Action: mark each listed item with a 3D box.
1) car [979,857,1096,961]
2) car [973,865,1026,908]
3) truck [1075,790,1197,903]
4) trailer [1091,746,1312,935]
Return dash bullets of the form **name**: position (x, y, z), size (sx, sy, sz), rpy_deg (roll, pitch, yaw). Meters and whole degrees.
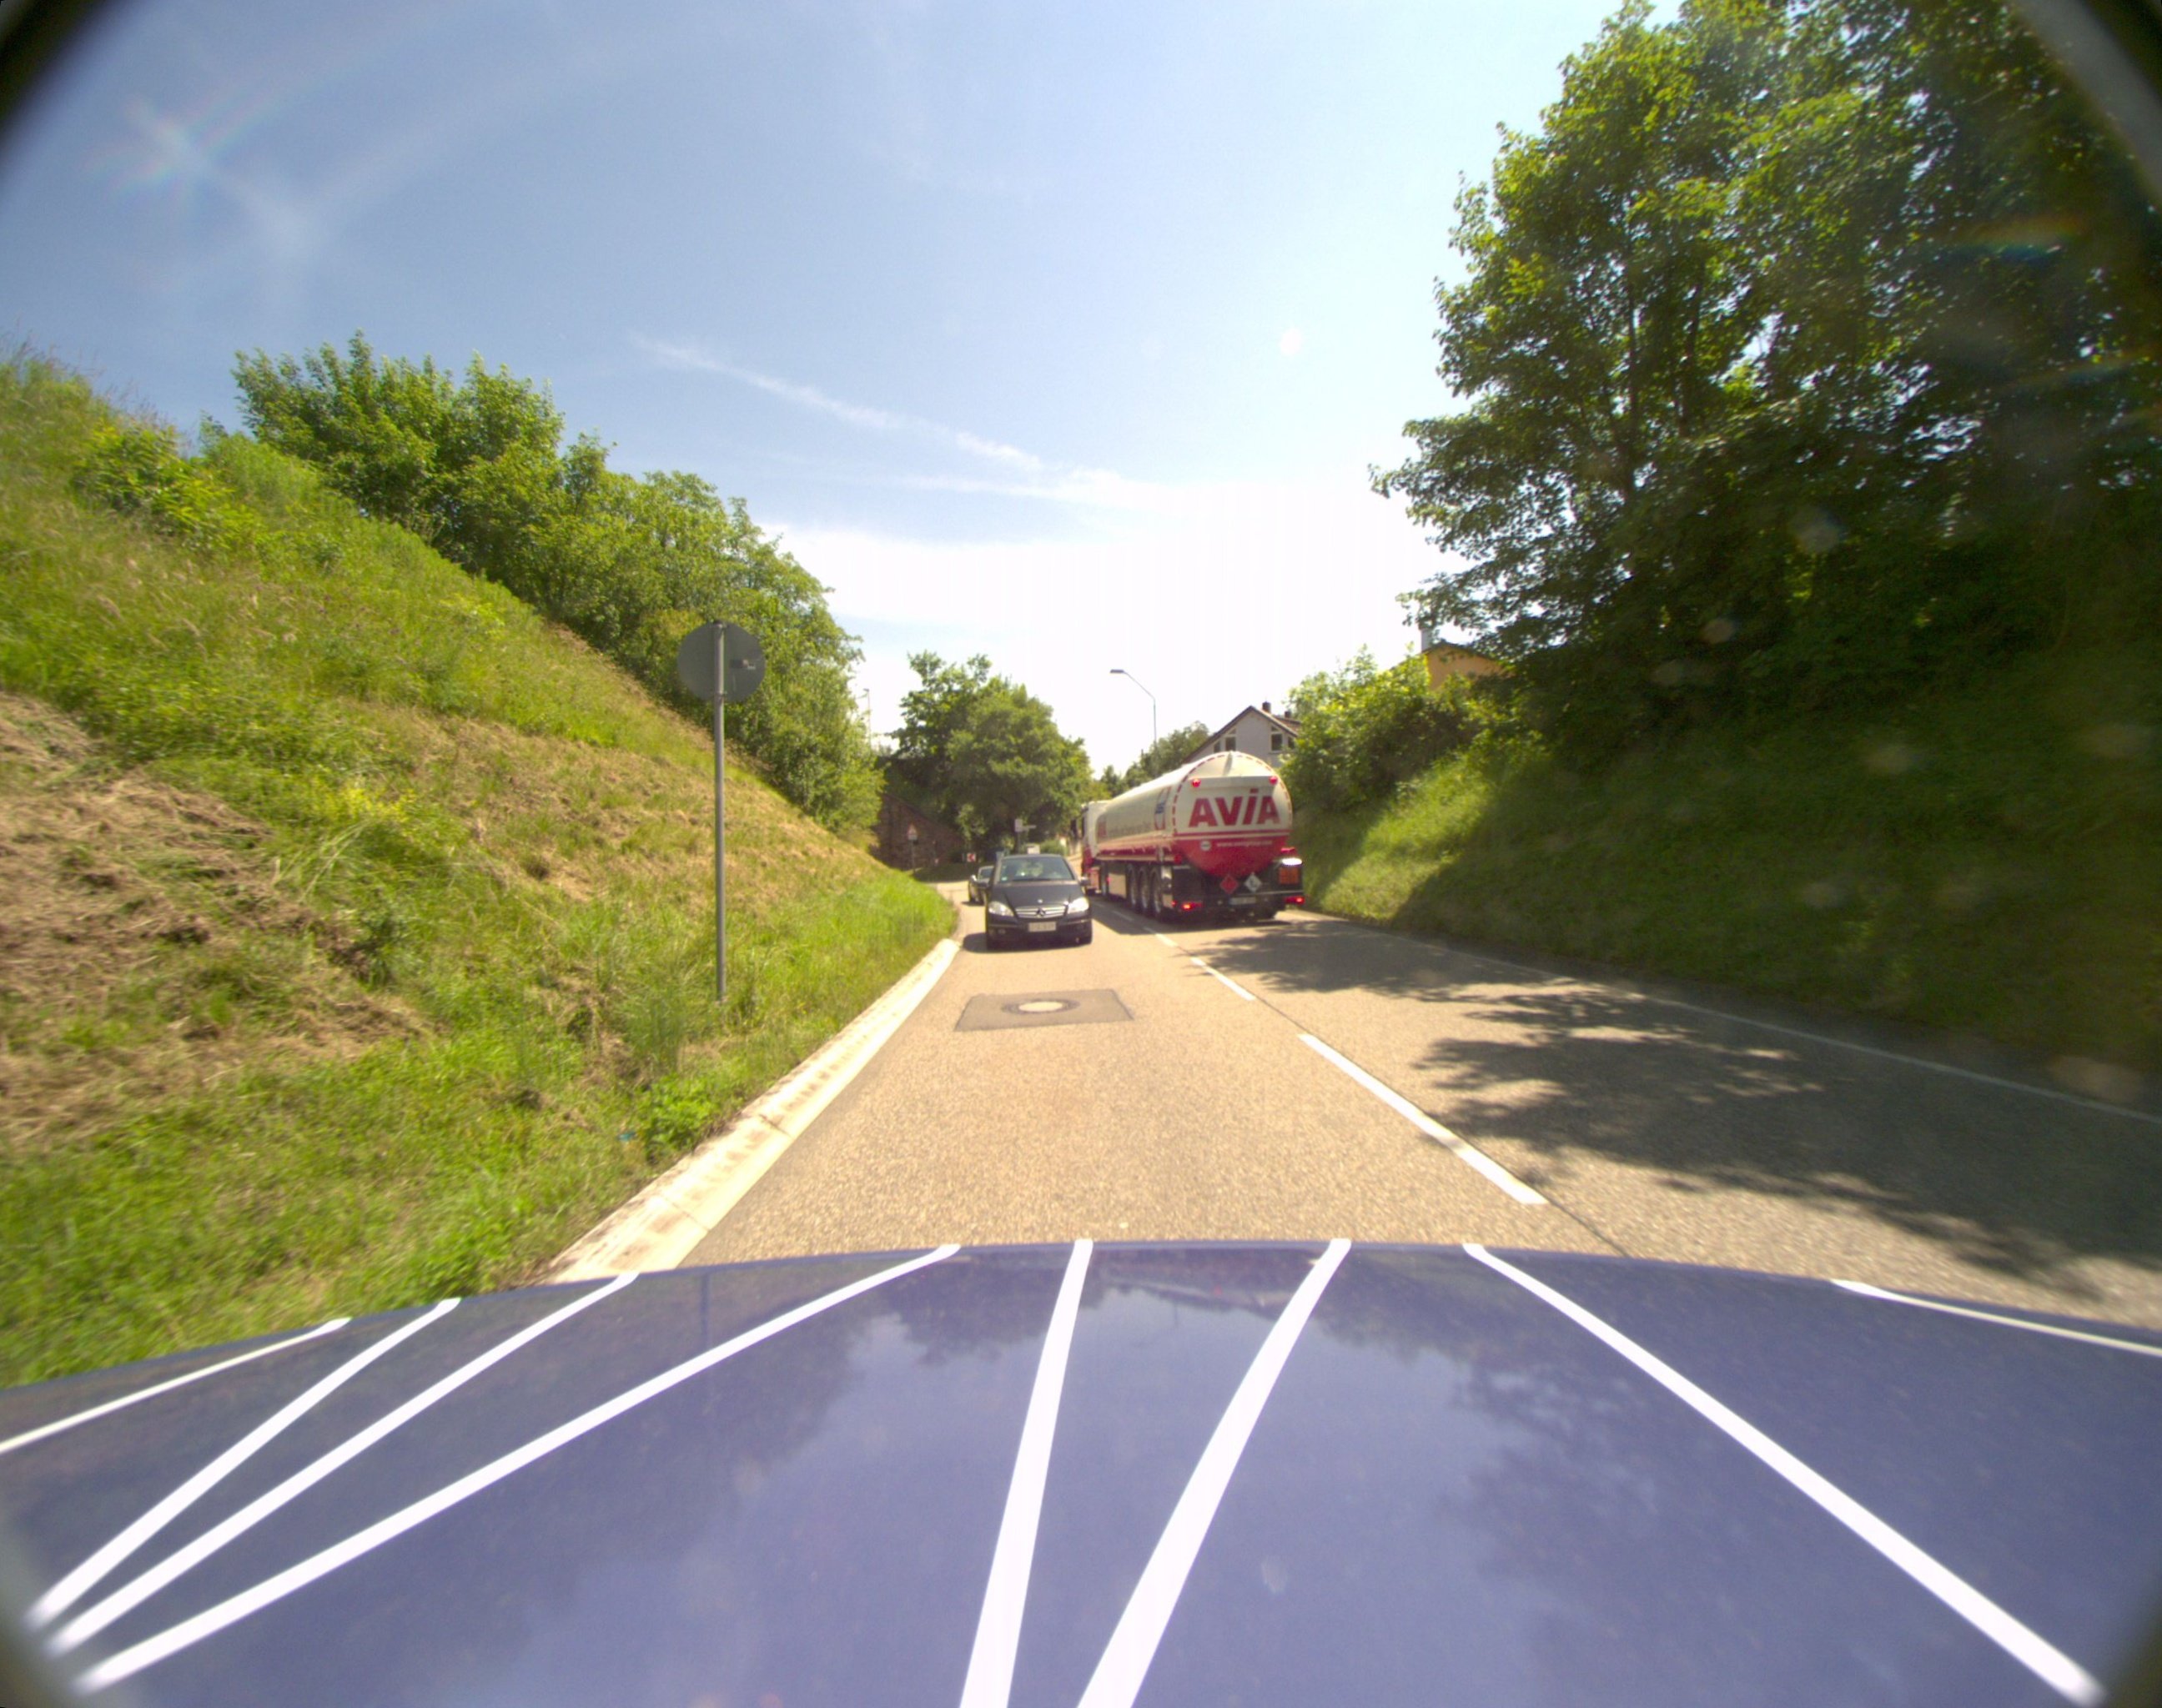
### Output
- **car**: position (-0.870, 0.876, 13.956), size (1.796, 1.570, 3.798), rpy_deg (-3, 0, -6)
- **car**: position (-2.810, 1.042, 25.851), size (1.648, 1.314, 3.436), rpy_deg (0, 0, -7)
- **truck**: position (1.570, -0.262, 25.437), size (2.634, 3.152, 7.062), rpy_deg (-2, 1, -7)
- **trailer**: position (2.287, -0.309, 19.354), size (2.641, 3.353, 11.135), rpy_deg (-2, 1, -6)
